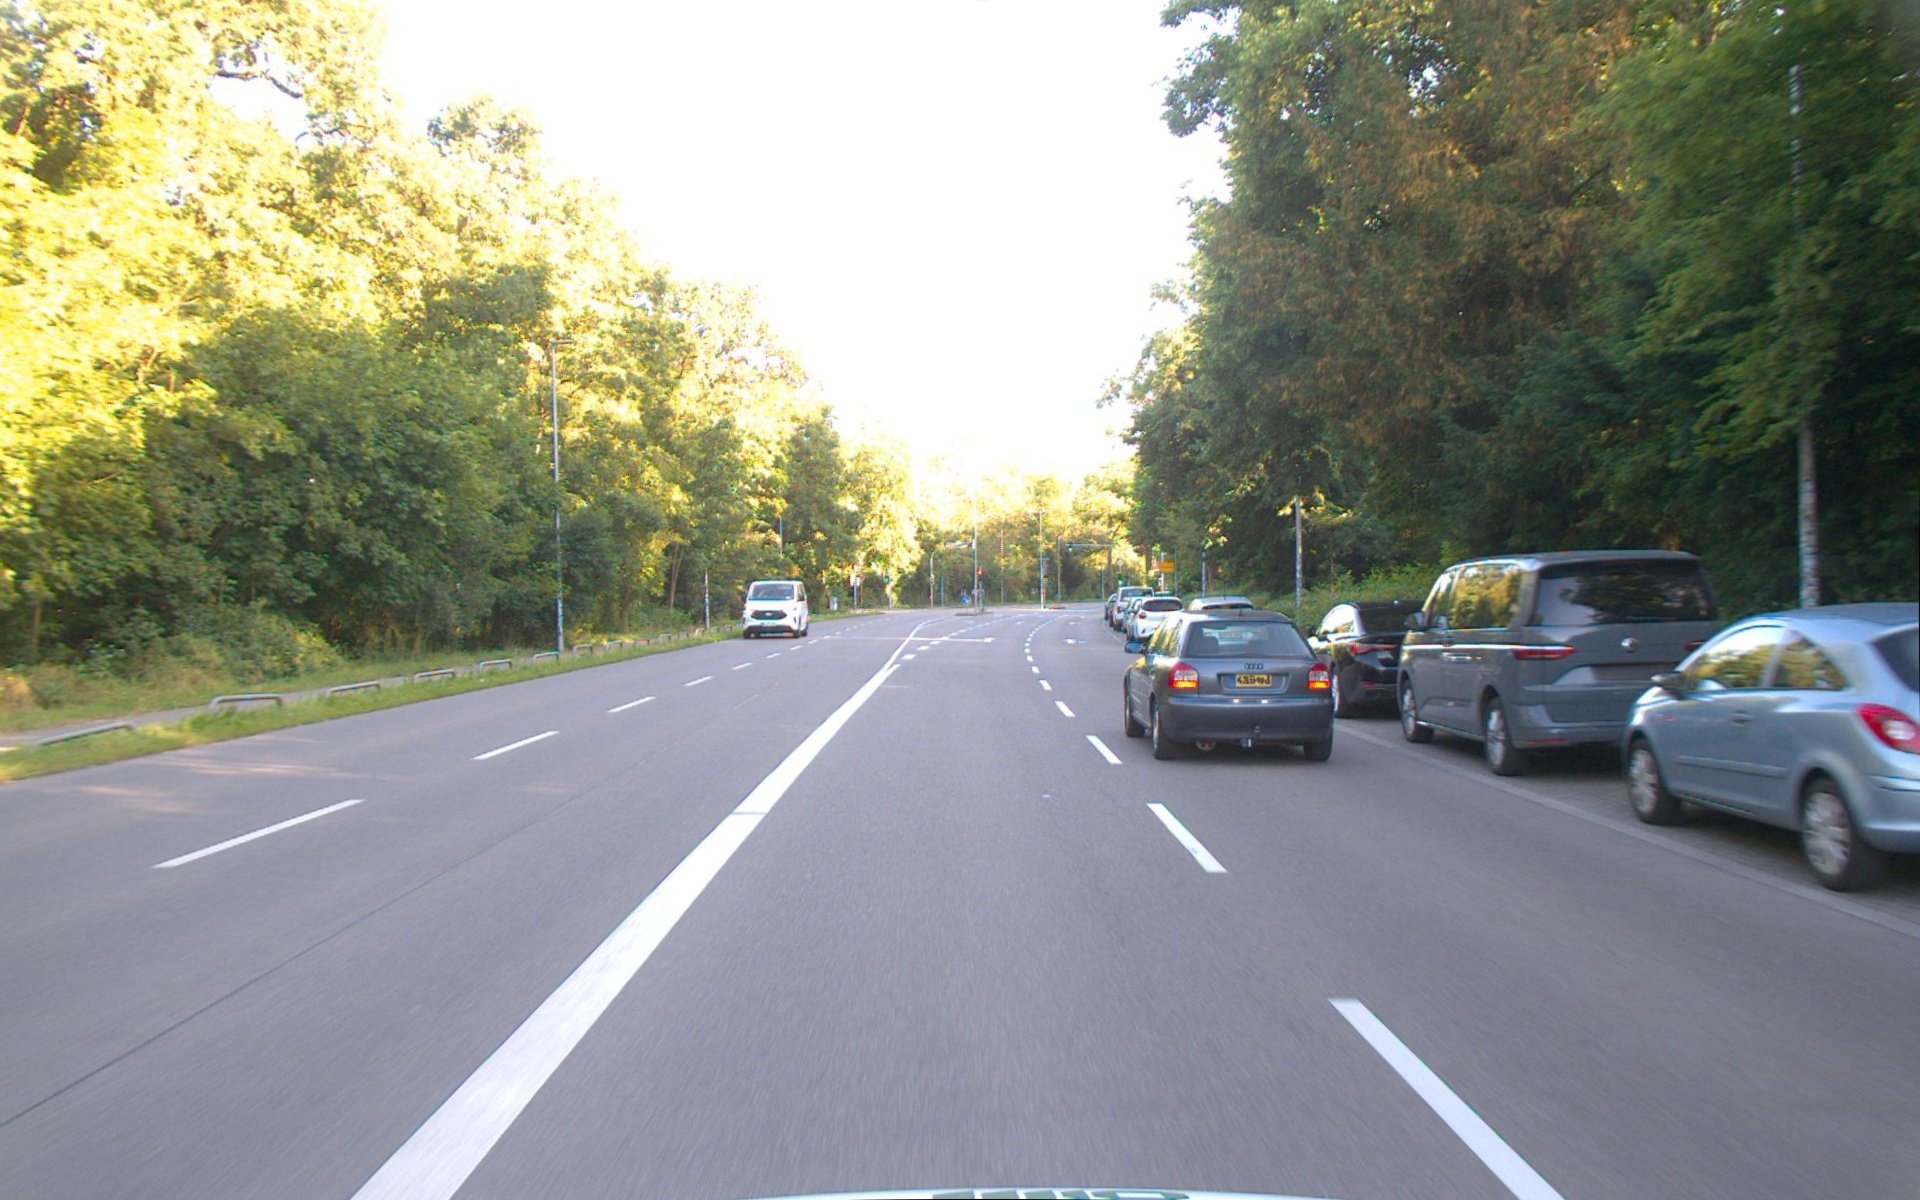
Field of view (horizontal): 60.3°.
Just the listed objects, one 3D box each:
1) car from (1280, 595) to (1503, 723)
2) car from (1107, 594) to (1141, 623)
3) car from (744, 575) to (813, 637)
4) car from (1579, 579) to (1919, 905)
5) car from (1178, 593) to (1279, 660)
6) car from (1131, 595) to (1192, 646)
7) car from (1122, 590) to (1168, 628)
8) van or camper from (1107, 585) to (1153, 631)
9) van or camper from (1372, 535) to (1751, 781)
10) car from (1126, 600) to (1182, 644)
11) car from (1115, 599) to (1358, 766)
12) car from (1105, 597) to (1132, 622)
[{"bbox_3d":[5.694,0.706,22.491,1.800,1.466,4.958,-2,0,1],"label":"car"},{"bbox_3d":[8.403,0.429,85.055,1.615,1.467,4.115,0,0,4],"label":"car"},{"bbox_3d":[-6.346,0.219,58.294,1.953,2.027,4.996,2,-1,-1],"label":"car"},{"bbox_3d":[5.484,0.678,10.251,1.692,1.570,4.217,-2,0,0],"label":"car"},{"bbox_3d":[6.150,0.567,38.365,1.692,1.467,4.667,0,0,1],"label":"car"},{"bbox_3d":[6.435,0.621,53.126,1.691,1.549,4.092,0,0,3],"label":"car"},{"bbox_3d":[7.764,0.372,69.577,1.613,1.549,3.868,0,0,2],"label":"car"},{"bbox_3d":[7.713,0.350,75.475,1.794,2.005,5.343,0,0,3],"label":"van or camper"},{"bbox_3d":[5.572,0.468,16.141,1.854,1.982,5.134,-1,0,1],"label":"van or camper"},{"bbox_3d":[6.732,0.751,57.804,1.691,1.434,4.091,-1,0,3],"label":"car"},{"bbox_3d":[2.669,0.735,16.832,1.693,1.467,4.088,0,0,-2],"label":"car"},{"bbox_3d":[10.224,0.582,106.732,1.691,1.487,4.170,-2,0,5],"label":"car"}]
